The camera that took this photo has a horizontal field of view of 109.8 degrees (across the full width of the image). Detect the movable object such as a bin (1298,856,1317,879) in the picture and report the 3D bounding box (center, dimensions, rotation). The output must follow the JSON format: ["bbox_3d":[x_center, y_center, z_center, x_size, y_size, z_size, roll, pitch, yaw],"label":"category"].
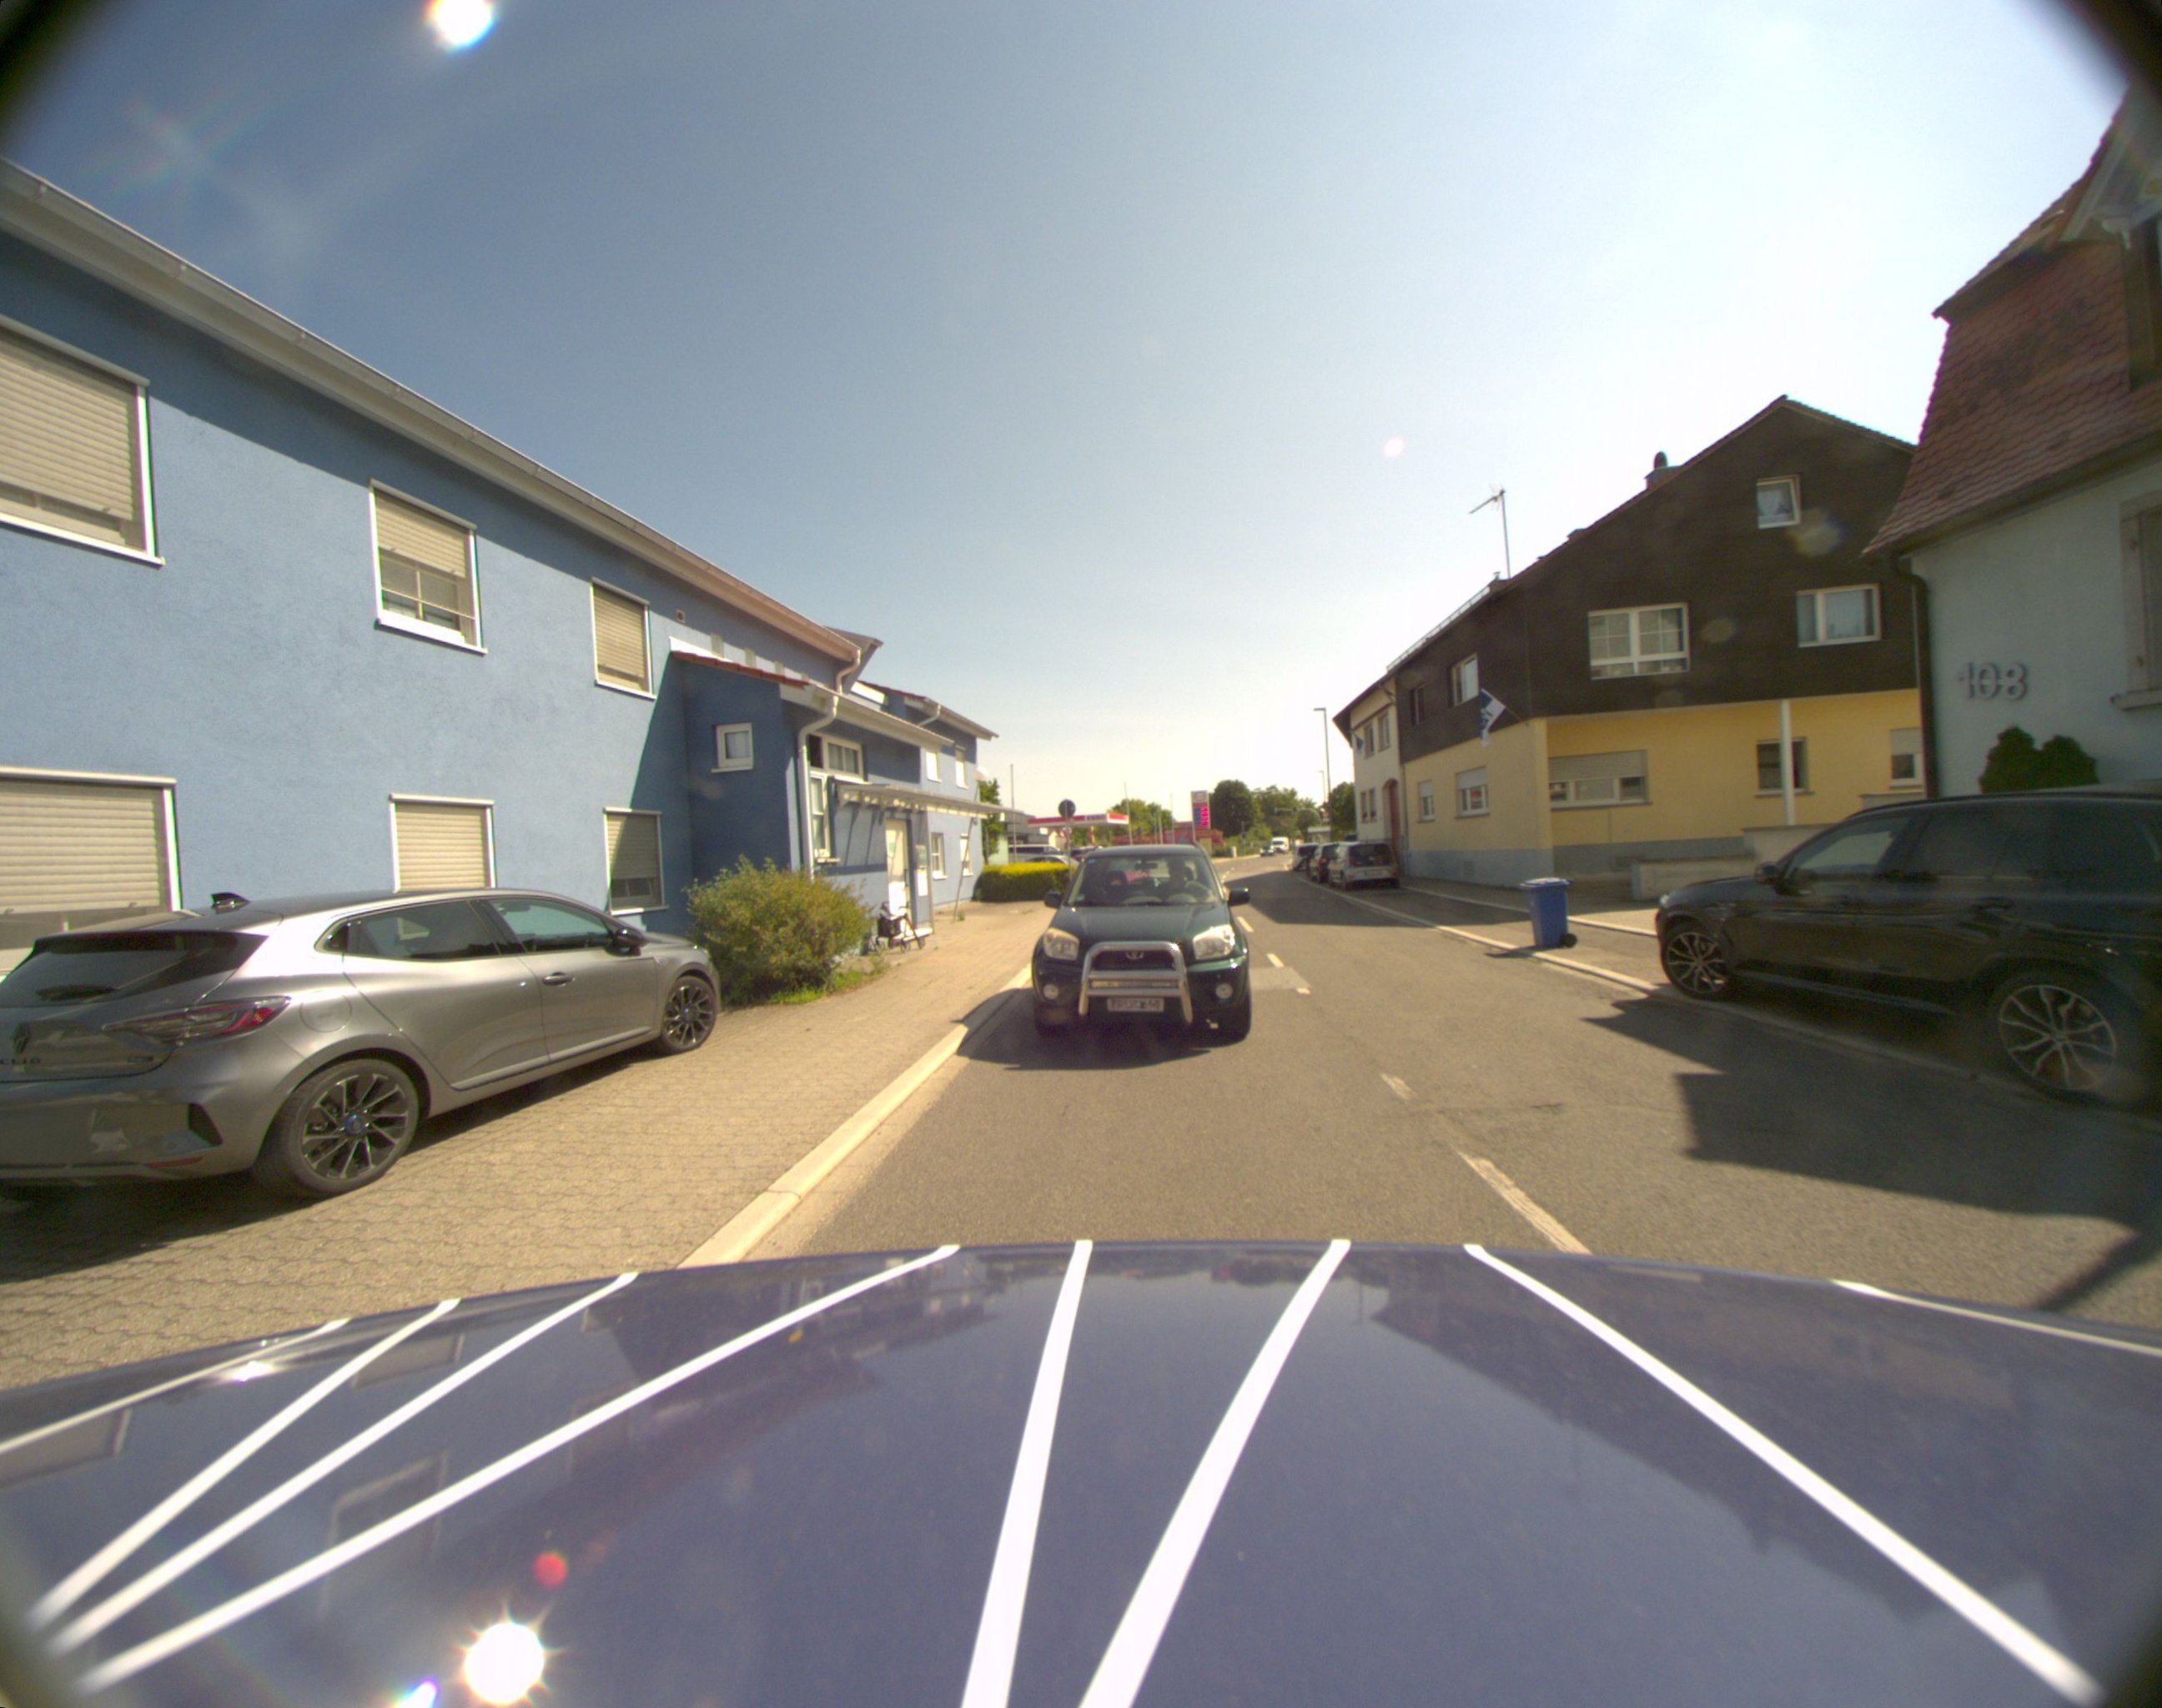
[{"bbox_3d":[9.891,0.574,33.194,0.552,0.923,0.826,-7,0,4],"label":"movable object such as a bin"}]

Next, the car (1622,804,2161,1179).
[{"bbox_3d":[6.128,0.583,5.122,1.924,1.658,4.667,-5,0,7],"label":"car"}]

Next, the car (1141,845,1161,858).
[{"bbox_3d":[8.886,-0.348,96.121,1.844,1.583,4.109,-2,1,12],"label":"car"}]

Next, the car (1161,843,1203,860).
[{"bbox_3d":[9.953,-0.261,75.025,1.777,1.546,4.172,-3,1,-33],"label":"car"}]

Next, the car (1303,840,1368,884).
[{"bbox_3d":[9.742,0.244,29.358,1.681,1.429,3.998,-6,0,10],"label":"car"}]

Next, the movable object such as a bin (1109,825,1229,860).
[{"bbox_3d":[12.146,-1.547,105.671,16.072,3.995,2.777,-2,1,18],"label":"movable object such as a bin"}]

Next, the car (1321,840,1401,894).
[{"bbox_3d":[8.931,0.358,24.490,1.643,1.492,3.783,-5,0,10],"label":"car"}]

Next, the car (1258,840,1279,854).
[{"bbox_3d":[24.411,-0.940,99.041,1.843,1.583,4.112,-2,1,25],"label":"car"}]

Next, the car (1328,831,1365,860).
[{"bbox_3d":[19.242,-0.647,54.874,1.839,1.782,4.349,-6,-1,27],"label":"car"}]

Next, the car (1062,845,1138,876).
[{"bbox_3d":[1.113,0.363,45.062,4.117,1.644,1.828,-2,1,-19],"label":"car"}]

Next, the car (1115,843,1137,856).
[{"bbox_3d":[5.749,-0.587,96.862,2.002,1.583,4.342,-2,1,12],"label":"car"}]

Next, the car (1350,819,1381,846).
[{"bbox_3d":[25.125,-1.891,67.247,2.129,1.974,5.271,-8,-1,18],"label":"car"}]

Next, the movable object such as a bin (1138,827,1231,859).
[{"bbox_3d":[15.354,-1.543,112.951,13.270,4.141,2.866,-2,1,18],"label":"movable object such as a bin"}]

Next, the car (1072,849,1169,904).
[{"bbox_3d":[1.285,0.735,22.613,1.734,1.485,4.363,-1,-3,19],"label":"car"}]

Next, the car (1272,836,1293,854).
[{"bbox_3d":[29.467,-1.377,110.962,1.935,2.488,5.846,-2,1,25],"label":"car"}]

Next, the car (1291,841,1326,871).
[{"bbox_3d":[12.504,0.091,41.857,1.686,1.453,3.652,-3,1,15],"label":"car"}]

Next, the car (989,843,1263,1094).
[{"bbox_3d":[0.648,0.808,7.436,1.847,1.686,4.401,-2,0,9],"label":"car"}]

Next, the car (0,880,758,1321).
[{"bbox_3d":[-4.101,1.024,4.942,1.693,1.412,4.147,-3,1,8],"label":"car"}]

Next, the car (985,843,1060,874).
[{"bbox_3d":[-4.282,0.295,55.474,5.286,2.002,2.230,-2,1,-8],"label":"car"}]

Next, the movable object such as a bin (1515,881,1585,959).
[{"bbox_3d":[6.389,0.890,10.367,0.598,0.976,0.531,-4,1,6],"label":"movable object such as a bin"}]

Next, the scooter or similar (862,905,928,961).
[{"bbox_3d":[-3.044,1.290,12.521,0.729,0.810,0.828,-2,1,12],"label":"scooter or similar"}]
